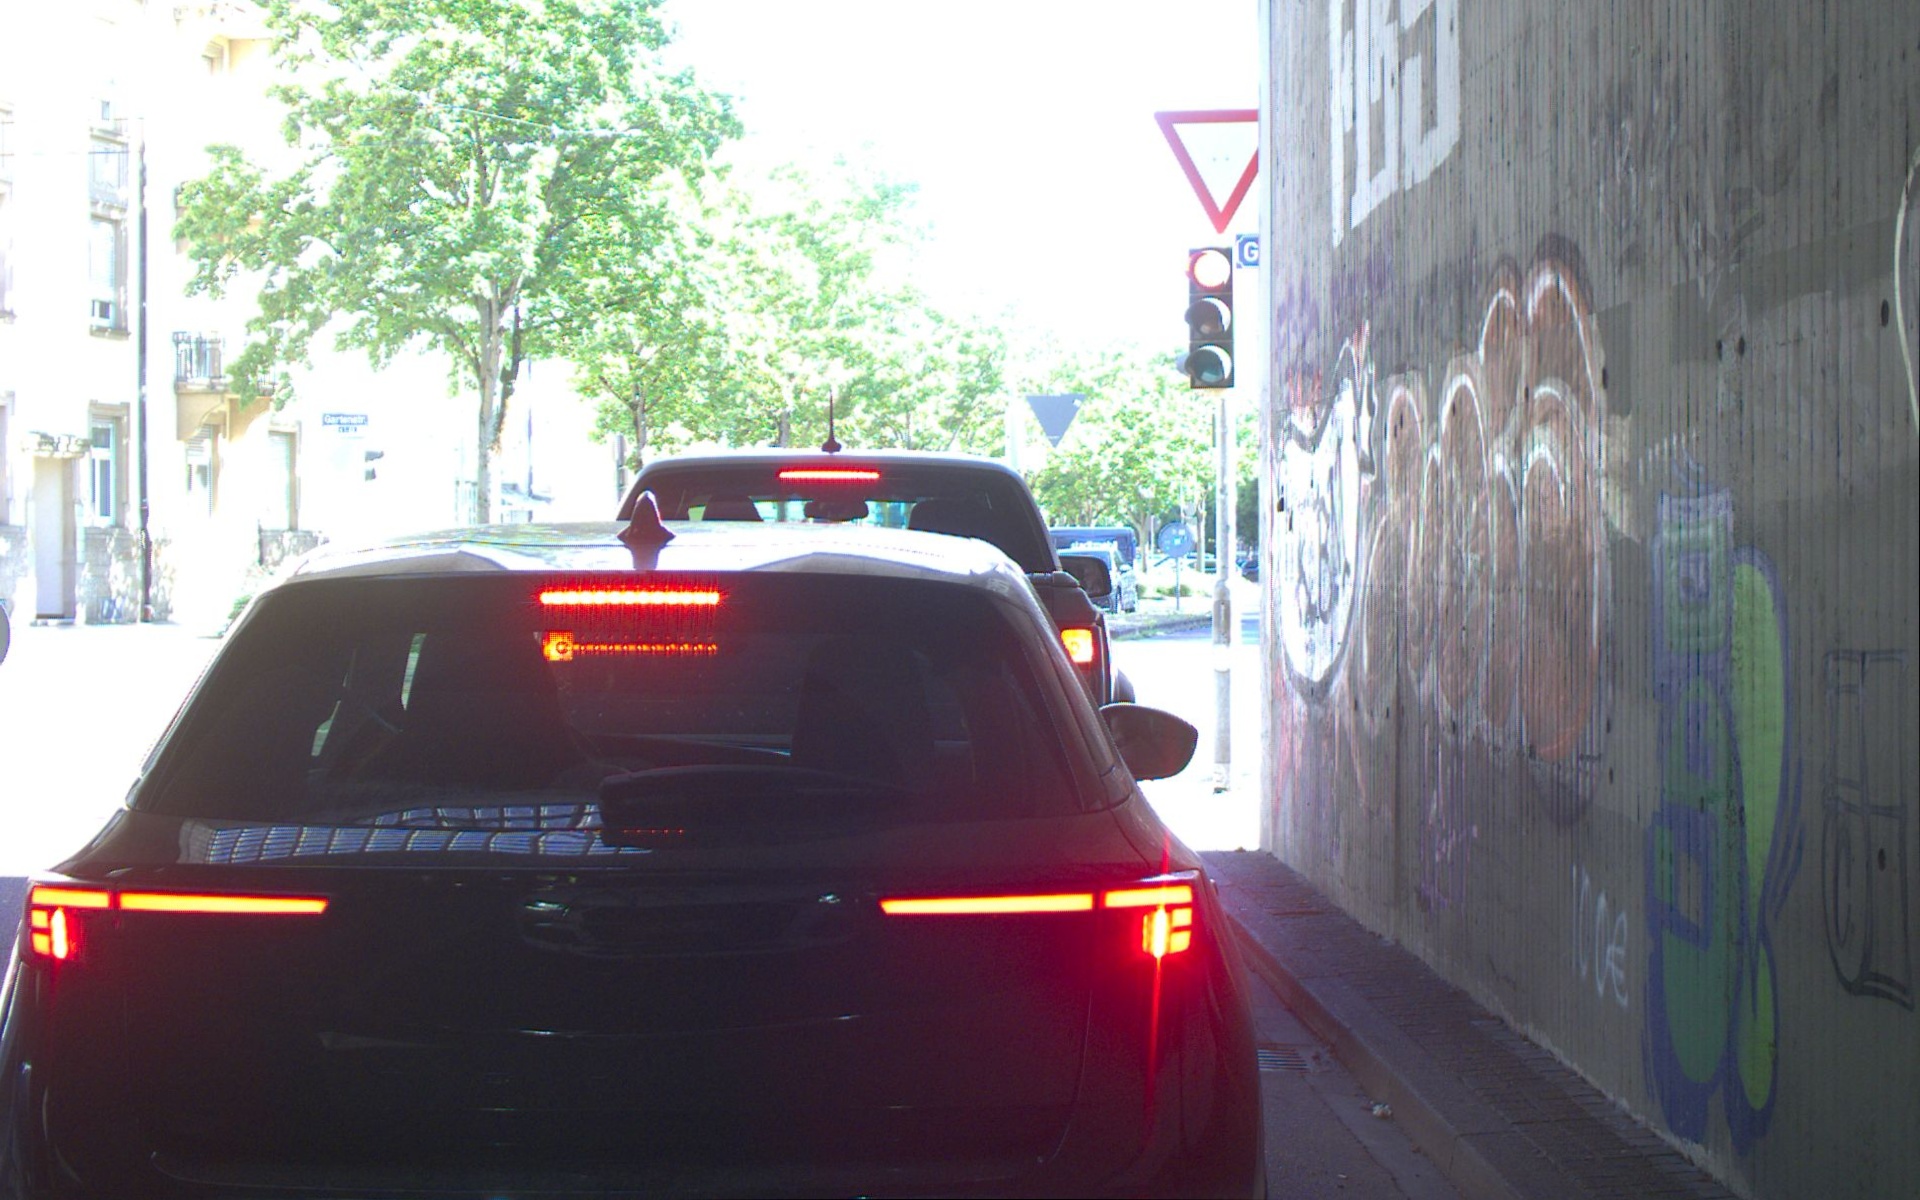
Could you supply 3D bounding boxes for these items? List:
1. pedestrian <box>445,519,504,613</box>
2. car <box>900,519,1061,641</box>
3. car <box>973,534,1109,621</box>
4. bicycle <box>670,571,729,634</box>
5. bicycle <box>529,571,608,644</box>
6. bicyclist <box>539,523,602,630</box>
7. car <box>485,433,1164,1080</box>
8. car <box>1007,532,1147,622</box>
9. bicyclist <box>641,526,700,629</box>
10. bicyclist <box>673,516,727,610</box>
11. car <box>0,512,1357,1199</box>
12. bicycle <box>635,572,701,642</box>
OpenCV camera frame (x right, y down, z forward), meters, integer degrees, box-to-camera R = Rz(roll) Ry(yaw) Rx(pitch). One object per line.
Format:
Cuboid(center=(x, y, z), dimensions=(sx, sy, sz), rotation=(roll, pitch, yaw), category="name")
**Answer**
Cuboid(center=(-10.521, -0.743, 74.540), dimensions=(0.992, 2.007, 1.088), rotation=(0, 1, 8), category="pedestrian")
Cuboid(center=(0.297, -0.229, 44.176), dimensions=(1.968, 1.492, 3.896), rotation=(0, -1, 1), category="car")
Cuboid(center=(1.504, -0.379, 62.198), dimensions=(1.969, 1.492, 3.895), rotation=(0, -1, 9), category="car")
Cuboid(center=(-4.457, 0.038, 58.924), dimensions=(0.626, 1.064, 1.688), rotation=(1, 1, 9), category="bicycle")
Cuboid(center=(-5.859, 0.104, 51.517), dimensions=(0.732, 1.064, 1.688), rotation=(1, 1, 9), category="bicycle")
Cuboid(center=(-5.840, -0.352, 51.543), dimensions=(0.729, 1.576, 0.814), rotation=(1, 0, 9), category="bicyclist")
Cuboid(center=(-0.411, 0.414, 11.894), dimensions=(1.945, 1.853, 3.964), rotation=(0, 1, -1), category="car")
Cuboid(center=(2.389, -0.434, 69.008), dimensions=(2.221, 1.713, 4.458), rotation=(0, -1, 9), category="car")
Cuboid(center=(-4.522, -0.354, 53.725), dimensions=(0.729, 1.576, 0.814), rotation=(1, 0, 9), category="bicyclist")
Cuboid(center=(-4.443, -0.630, 58.780), dimensions=(0.729, 1.576, 0.814), rotation=(1, 0, 9), category="bicyclist")
Cuboid(center=(-0.491, 0.631, 6.072), dimensions=(1.882, 1.532, 3.964), rotation=(0, 1, -1), category="car")
Cuboid(center=(-4.552, 0.102, 53.688), dimensions=(0.626, 1.064, 1.688), rotation=(1, 1, 9), category="bicycle")
